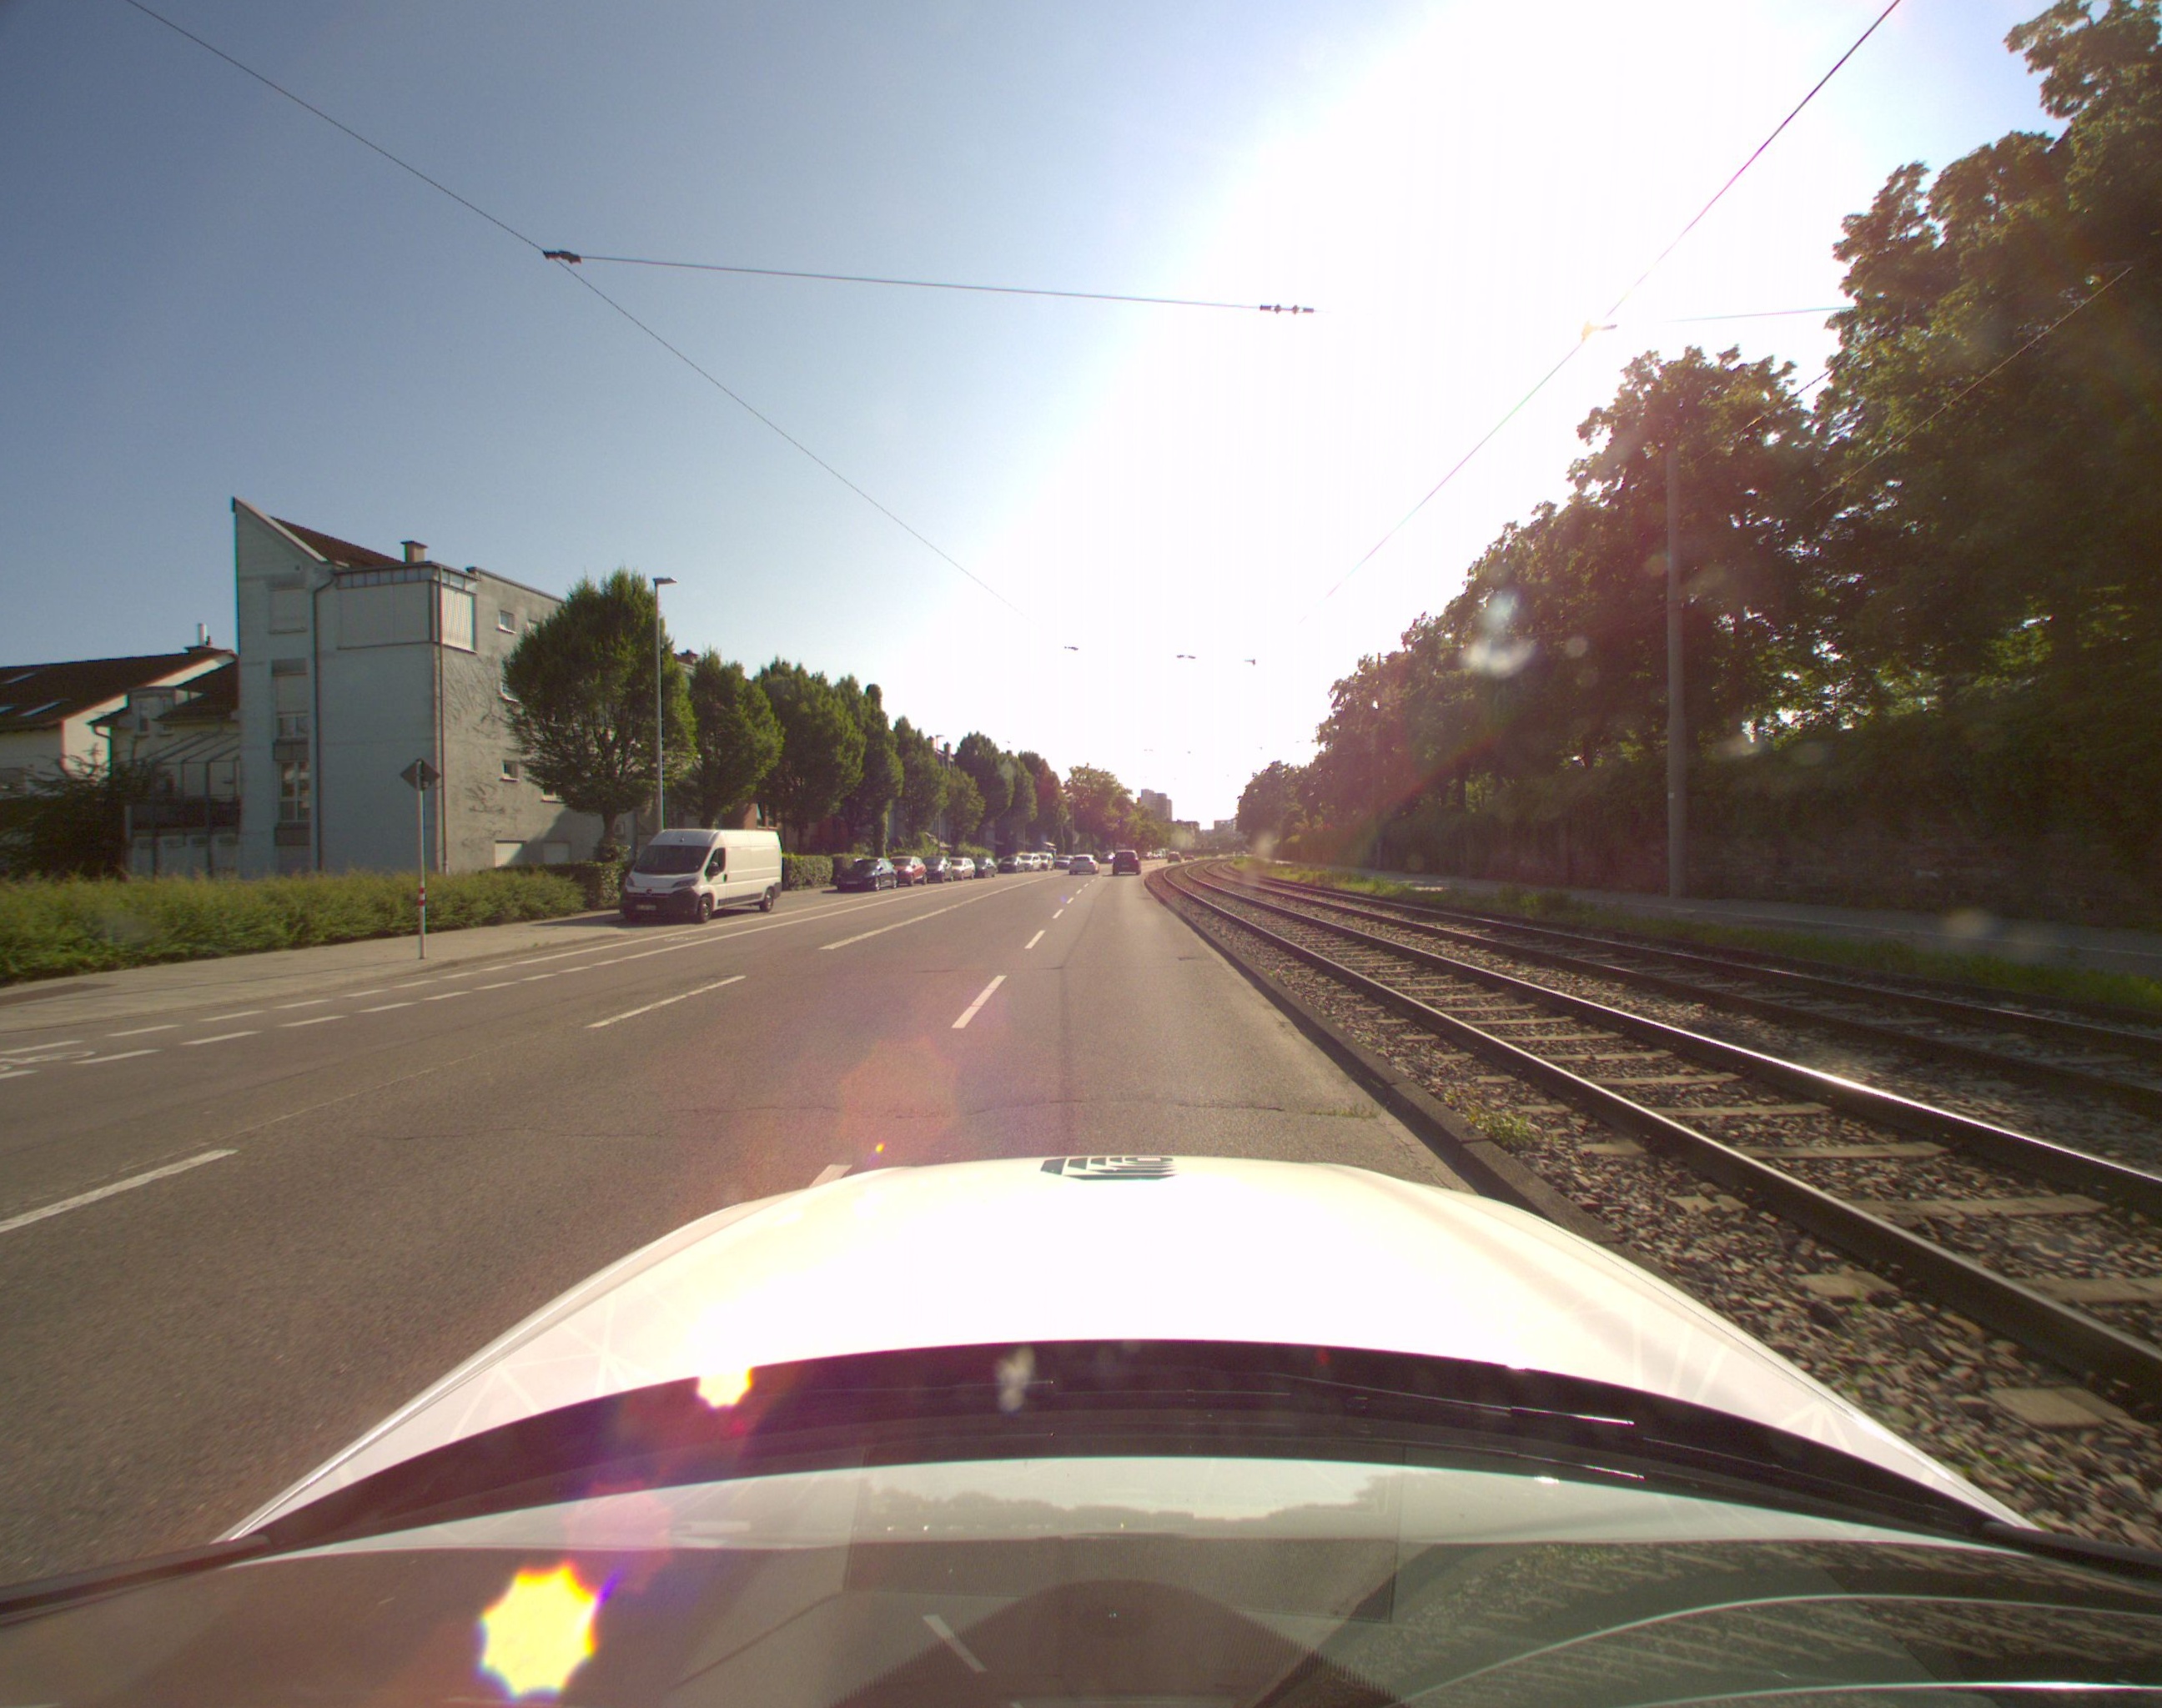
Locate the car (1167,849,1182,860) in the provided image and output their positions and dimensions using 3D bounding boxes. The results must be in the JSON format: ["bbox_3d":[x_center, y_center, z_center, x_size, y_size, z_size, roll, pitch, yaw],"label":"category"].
[{"bbox_3d":[13.150,0.060,114.443,1.799,1.449,4.013,0,0,12],"label":"car"}]

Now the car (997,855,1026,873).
[{"bbox_3d":[-6.040,0.853,71.641,1.606,1.466,4.068,0,0,9],"label":"car"}]

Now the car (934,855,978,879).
[{"bbox_3d":[-8.311,0.864,54.660,1.704,1.471,4.852,1,-1,6],"label":"car"}]

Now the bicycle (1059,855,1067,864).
[{"bbox_3d":[-2.371,0.702,107.277,0.439,1.154,1.793,-1,-1,18],"label":"bicycle"}]

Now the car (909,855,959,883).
[{"bbox_3d":[-8.841,0.861,49.249,1.753,1.574,4.306,1,0,6],"label":"car"}]

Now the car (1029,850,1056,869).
[{"bbox_3d":[-3.910,0.540,83.242,1.752,1.845,4.592,3,1,9],"label":"car"}]

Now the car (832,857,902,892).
[{"bbox_3d":[-9.822,0.913,37.748,1.645,1.424,4.718,-1,0,4],"label":"car"}]

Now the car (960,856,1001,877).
[{"bbox_3d":[-7.377,0.911,60.486,1.700,1.472,4.922,1,0,9],"label":"car"}]

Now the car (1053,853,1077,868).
[{"bbox_3d":[-1.785,0.683,92.884,1.751,1.539,3.994,3,1,11],"label":"car"}]

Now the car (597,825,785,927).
[{"bbox_3d":[-10.659,0.509,22.996,2.144,2.457,6.186,1,0,1],"label":"car"}]

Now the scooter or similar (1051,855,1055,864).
[{"bbox_3d":[-3.401,0.691,100.453,0.292,1.153,1.045,-1,0,7],"label":"scooter or similar"}]

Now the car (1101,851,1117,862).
[{"bbox_3d":[4.319,0.356,124.359,1.701,1.694,4.436,-1,0,12],"label":"car"}]

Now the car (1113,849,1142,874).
[{"bbox_3d":[3.208,0.507,55.292,1.802,1.645,4.006,0,0,5],"label":"car"}]

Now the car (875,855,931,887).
[{"bbox_3d":[-9.419,0.866,43.440,1.754,1.574,4.167,-1,-1,4],"label":"car"}]

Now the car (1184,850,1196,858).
[{"bbox_3d":[19.564,-0.047,145.920,1.799,1.449,4.015,0,0,13],"label":"car"}]

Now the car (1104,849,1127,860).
[{"bbox_3d":[8.383,0.091,196.805,5.340,2.423,2.094,-2,0,11],"label":"car"}]

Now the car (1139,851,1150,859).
[{"bbox_3d":[13.494,0.119,172.281,1.720,1.658,4.014,-2,0,13],"label":"car"}]

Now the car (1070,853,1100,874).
[{"bbox_3d":[0.319,0.650,57.550,1.856,1.348,4.005,-1,0,4],"label":"car"}]

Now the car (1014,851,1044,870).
[{"bbox_3d":[-4.903,0.608,77.077,1.657,1.701,4.839,1,0,11],"label":"car"}]
